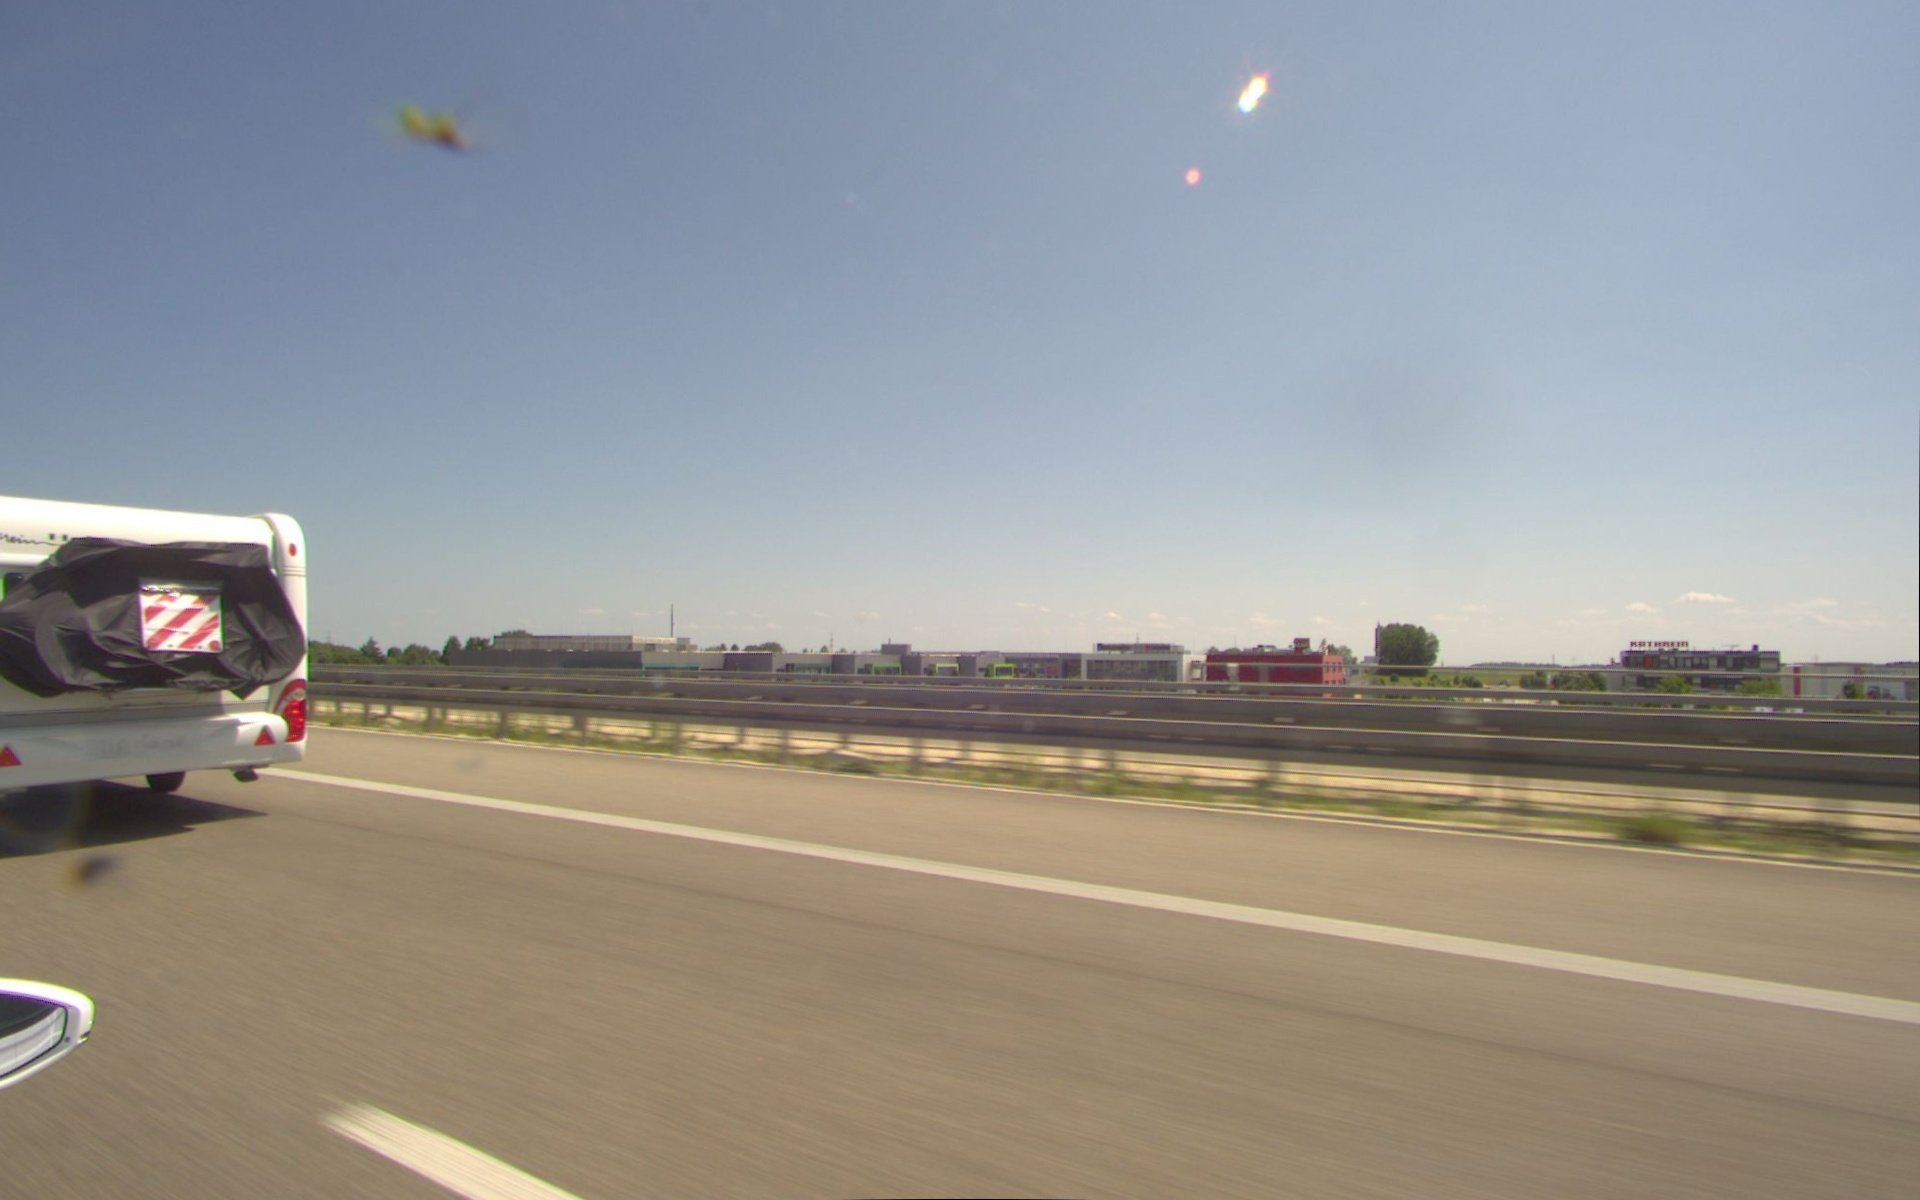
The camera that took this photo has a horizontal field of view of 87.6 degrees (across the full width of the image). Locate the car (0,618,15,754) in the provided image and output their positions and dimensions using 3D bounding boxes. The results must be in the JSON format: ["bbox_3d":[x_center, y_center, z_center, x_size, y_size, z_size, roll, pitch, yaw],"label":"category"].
[{"bbox_3d":[-14.038,1.057,12.676,4.834,1.643,1.877,-1,-2,32],"label":"car"}]

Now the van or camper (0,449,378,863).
[{"bbox_3d":[-8.777,0.446,9.347,7.706,2.626,2.508,-1,-2,32],"label":"van or camper"}]
